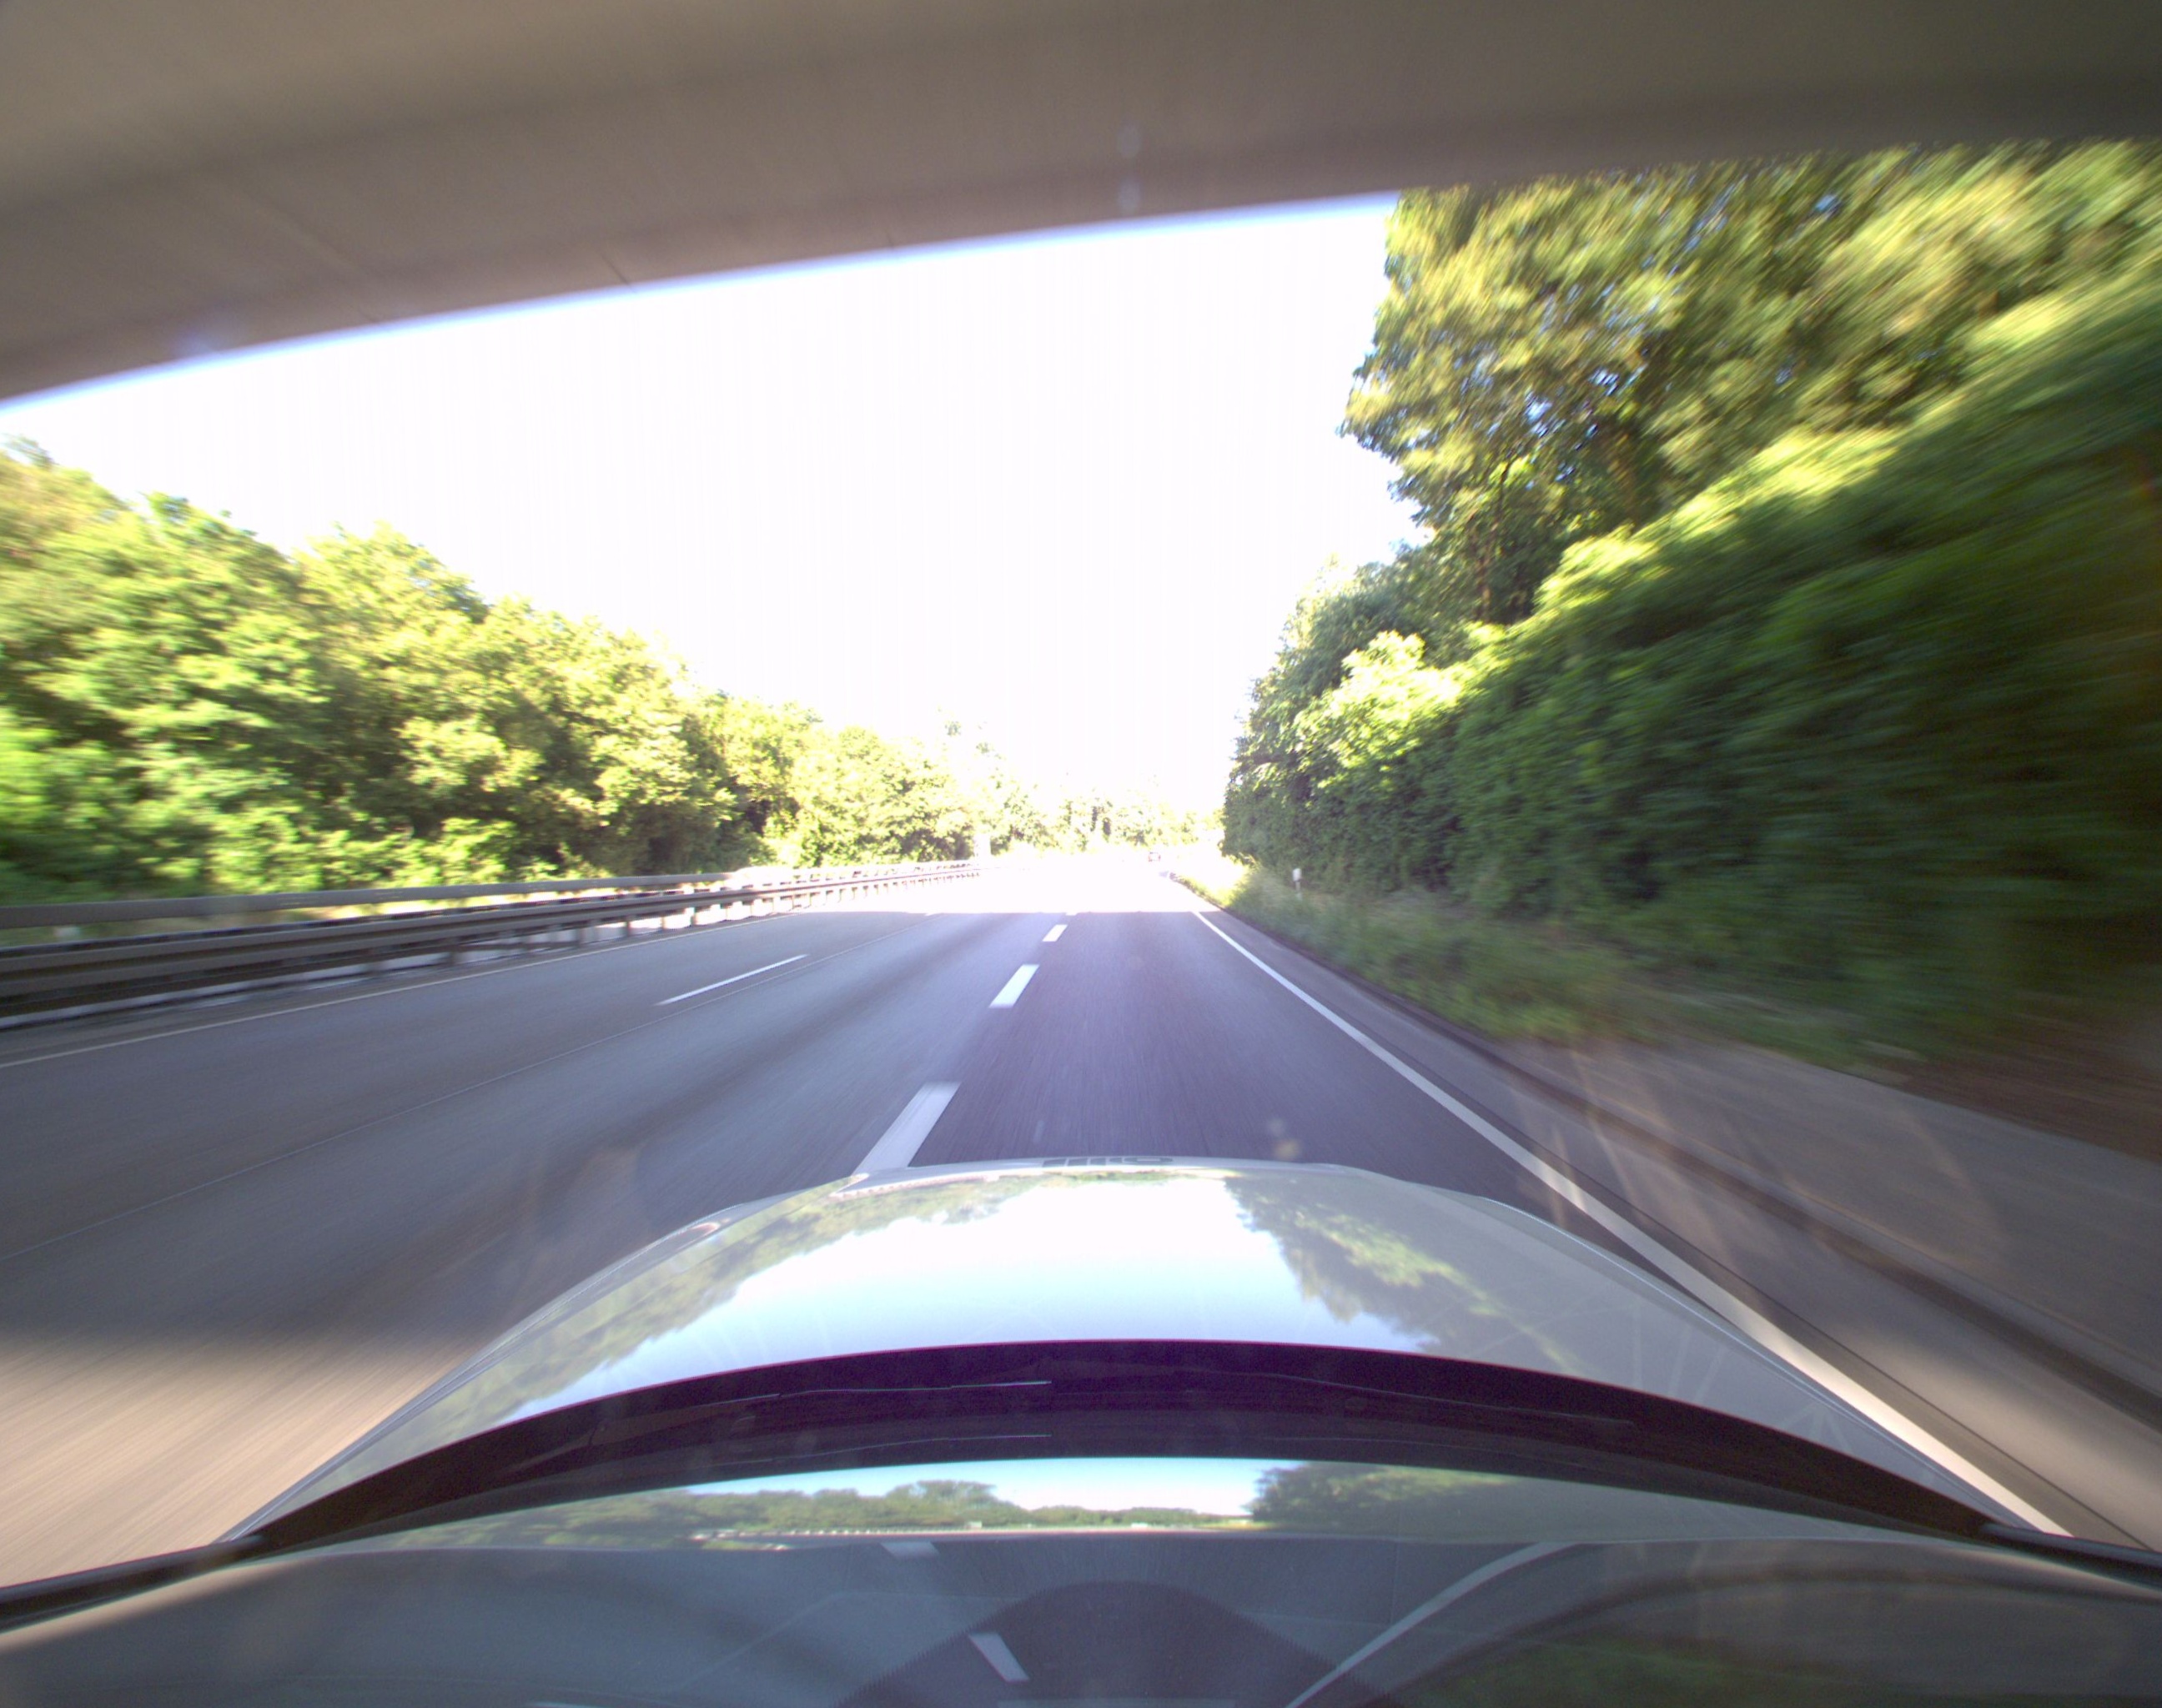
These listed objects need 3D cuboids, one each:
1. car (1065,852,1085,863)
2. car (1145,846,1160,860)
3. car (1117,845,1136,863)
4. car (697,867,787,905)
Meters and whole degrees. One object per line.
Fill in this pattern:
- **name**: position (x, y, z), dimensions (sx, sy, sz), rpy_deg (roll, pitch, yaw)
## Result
- **car**: position (-1.109, 0.618, 153.469), dimensions (1.975, 2.014, 4.655), rpy_deg (-1, -1, 25)
- **car**: position (9.516, -0.148, 108.007), dimensions (1.729, 1.662, 3.956), rpy_deg (-2, 0, 9)
- **car**: position (6.071, -0.032, 108.150), dimensions (1.982, 2.277, 4.009), rpy_deg (-2, 0, 8)
- **car**: position (-15.981, 1.449, 38.682), dimensions (1.984, 1.594, 4.734), rpy_deg (-1, 0, 5)
